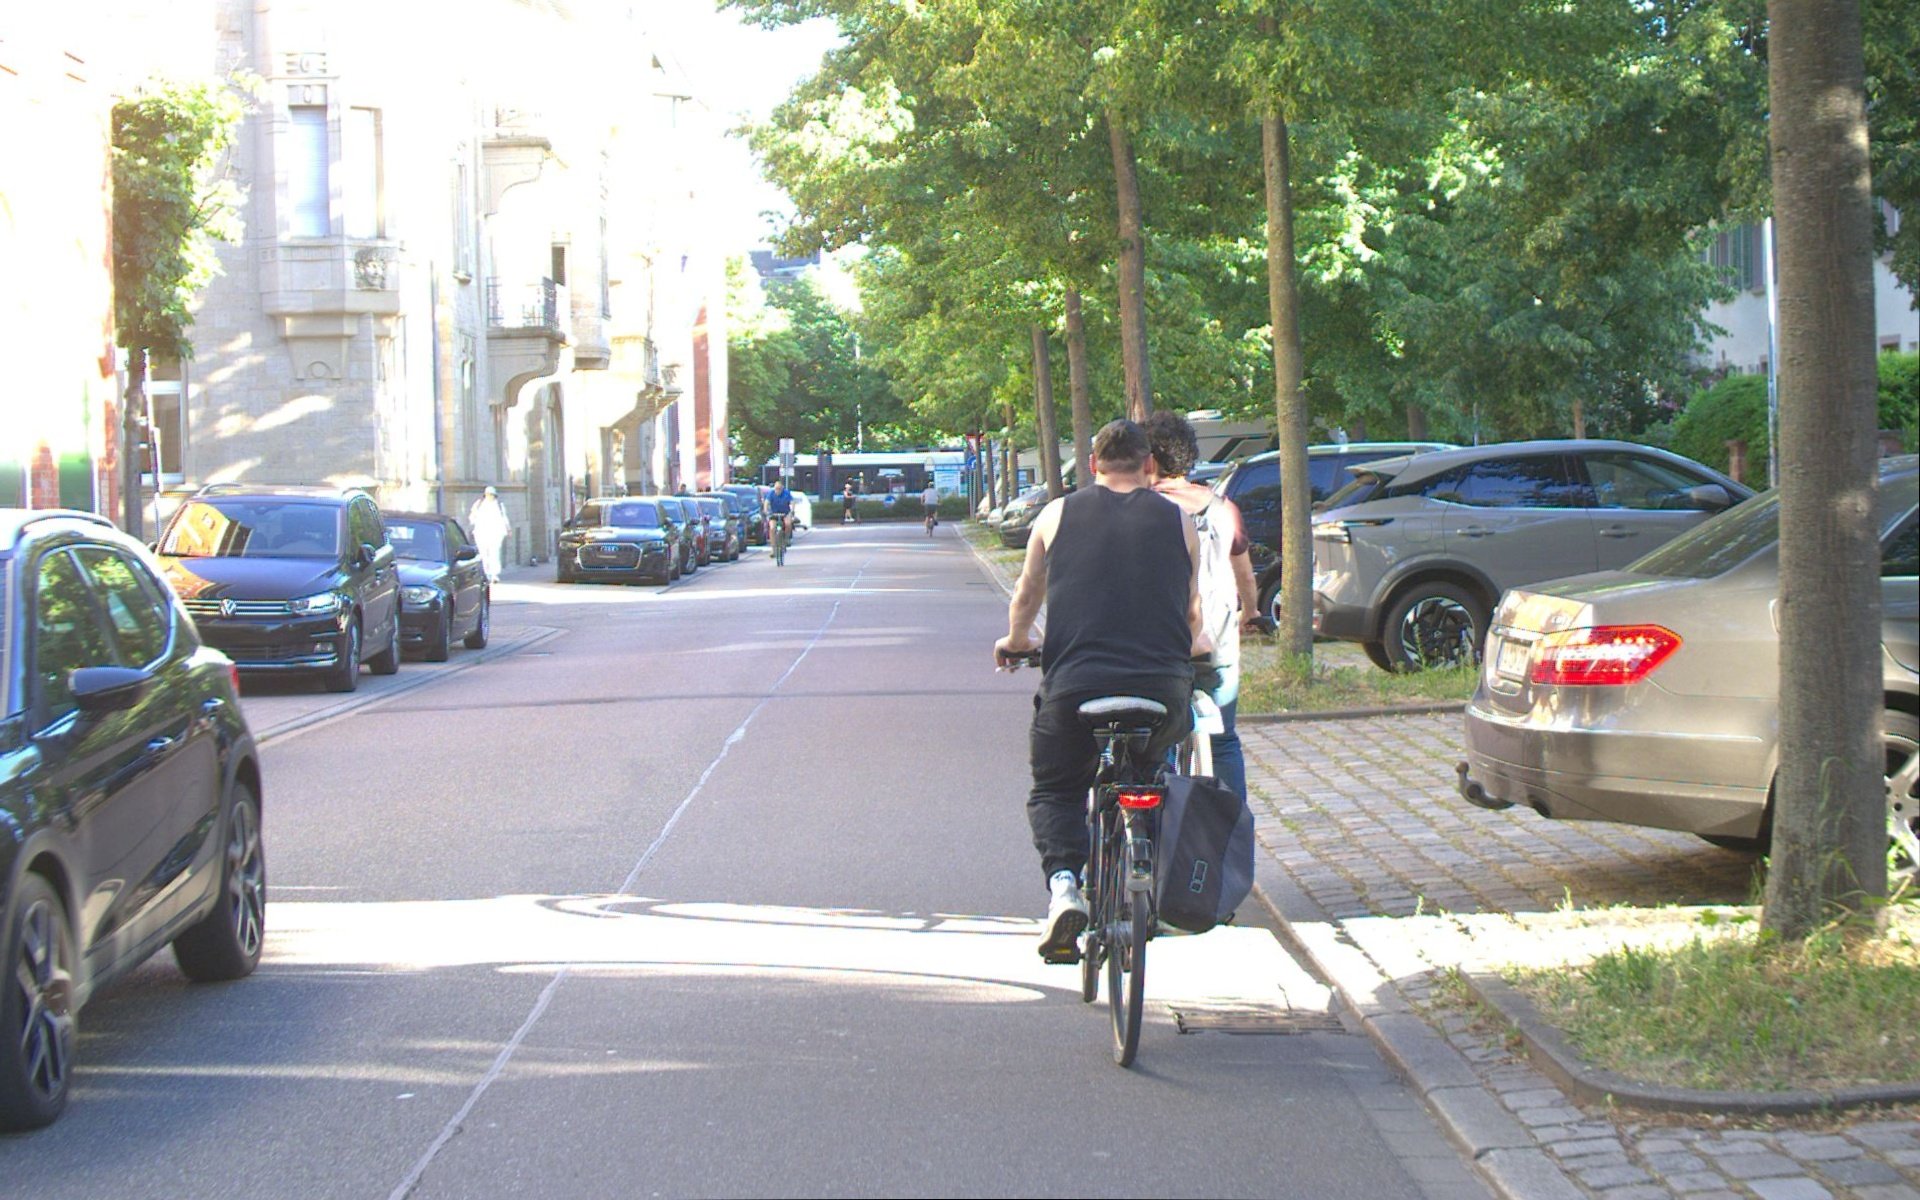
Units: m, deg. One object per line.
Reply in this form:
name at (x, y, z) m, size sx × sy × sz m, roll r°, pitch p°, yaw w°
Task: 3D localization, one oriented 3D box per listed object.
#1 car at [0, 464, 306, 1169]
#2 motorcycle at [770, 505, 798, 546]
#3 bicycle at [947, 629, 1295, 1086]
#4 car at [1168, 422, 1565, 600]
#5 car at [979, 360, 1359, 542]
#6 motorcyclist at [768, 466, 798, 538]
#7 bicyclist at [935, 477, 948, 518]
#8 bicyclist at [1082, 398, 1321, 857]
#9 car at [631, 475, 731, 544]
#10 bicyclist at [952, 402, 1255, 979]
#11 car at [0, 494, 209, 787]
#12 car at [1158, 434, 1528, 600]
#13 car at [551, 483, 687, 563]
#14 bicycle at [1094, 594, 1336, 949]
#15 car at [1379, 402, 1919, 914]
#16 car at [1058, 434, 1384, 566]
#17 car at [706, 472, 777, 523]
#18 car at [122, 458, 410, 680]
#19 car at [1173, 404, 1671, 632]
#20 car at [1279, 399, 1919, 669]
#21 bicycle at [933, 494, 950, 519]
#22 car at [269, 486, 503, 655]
car at (-3.112, 0.495, 9.523) m, size 1.767 × 1.593 × 4.090 m, roll -4°, pitch 2°, yaw -1°
motorcycle at (-3.572, -1.507, 69.717) m, size 0.551 × 0.798 × 1.308 m, roll -2°, pitch 2°, yaw -3°
bicycle at (0.398, 0.647, 9.513) m, size 0.696 × 1.069 × 1.969 m, roll -1°, pitch 1°, yaw -5°
car at (4.564, -1.003, 39.093) m, size 4.243 × 1.791 × 1.855 m, roll -2°, pitch 1°, yaw 1°
car at (4.123, -2.948, 68.707) m, size 7.333 × 3.271 × 2.223 m, roll -2°, pitch 1°, yaw 1°
motorcyclist at (-3.591, -1.985, 69.703) m, size 0.551 × 1.443 × 0.688 m, roll -2°, pitch 2°, yaw -3°
bicyclist at (-0.618, -3.452, 115.692) m, size 0.417 × 1.346 × 0.430 m, roll -1°, pitch 1°, yaw 0°
bicyclist at (0.824, 0.085, 11.978) m, size 0.718 × 1.521 × 0.972 m, roll -1°, pitch 1°, yaw -1°
car at (-6.415, -2.080, 79.335) m, size 1.993 × 1.525 × 4.000 m, roll -1°, pitch 1°, yaw 0°
bicyclist at (0.382, 0.232, 9.629) m, size 0.706 × 1.521 × 0.972 m, roll -1°, pitch 1°, yaw -5°
car at (-5.563, 0.153, 20.131) m, size 1.491 × 1.512 × 3.775 m, roll 3°, pitch 1°, yaw -1°
car at (4.598, -1.004, 41.730) m, size 4.243 × 1.791 × 1.855 m, roll -2°, pitch 1°, yaw 1°
car at (-5.877, -1.333, 59.717) m, size 1.971 × 1.315 × 4.000 m, roll -1°, pitch 1°, yaw 0°
bicycle at (0.860, 0.550, 12.050) m, size 0.555 × 1.069 × 1.969 m, roll -1°, pitch 2°, yaw -4°
car at (3.770, 0.111, 12.130) m, size 4.243 × 1.600 × 1.754 m, roll -3°, pitch 1°, yaw -3°
car at (3.918, -1.508, 52.204) m, size 4.757 × 1.773 × 1.855 m, roll -2°, pitch 1°, yaw 1°
car at (-6.870, -3.218, 108.566) m, size 1.993 × 1.525 × 4.000 m, roll -1°, pitch 1°, yaw 0°
car at (-5.609, -0.269, 28.197) m, size 1.631 × 1.659 × 3.969 m, roll -1°, pitch 1°, yaw -2°
car at (4.151, -0.745, 31.409) m, size 4.243 × 1.833 × 1.855 m, roll -2°, pitch 1°, yaw 1°
car at (4.463, -0.463, 24.068) m, size 4.243 × 1.641 × 1.855 m, roll -2°, pitch 1°, yaw 1°
bicycle at (-0.622, -3.135, 115.708) m, size 0.541 × 0.825 × 1.919 m, roll -1°, pitch 1°, yaw 0°
car at (-5.565, -0.324, 33.743) m, size 1.615 × 1.477 × 4.019 m, roll 3°, pitch 1°, yaw -1°
